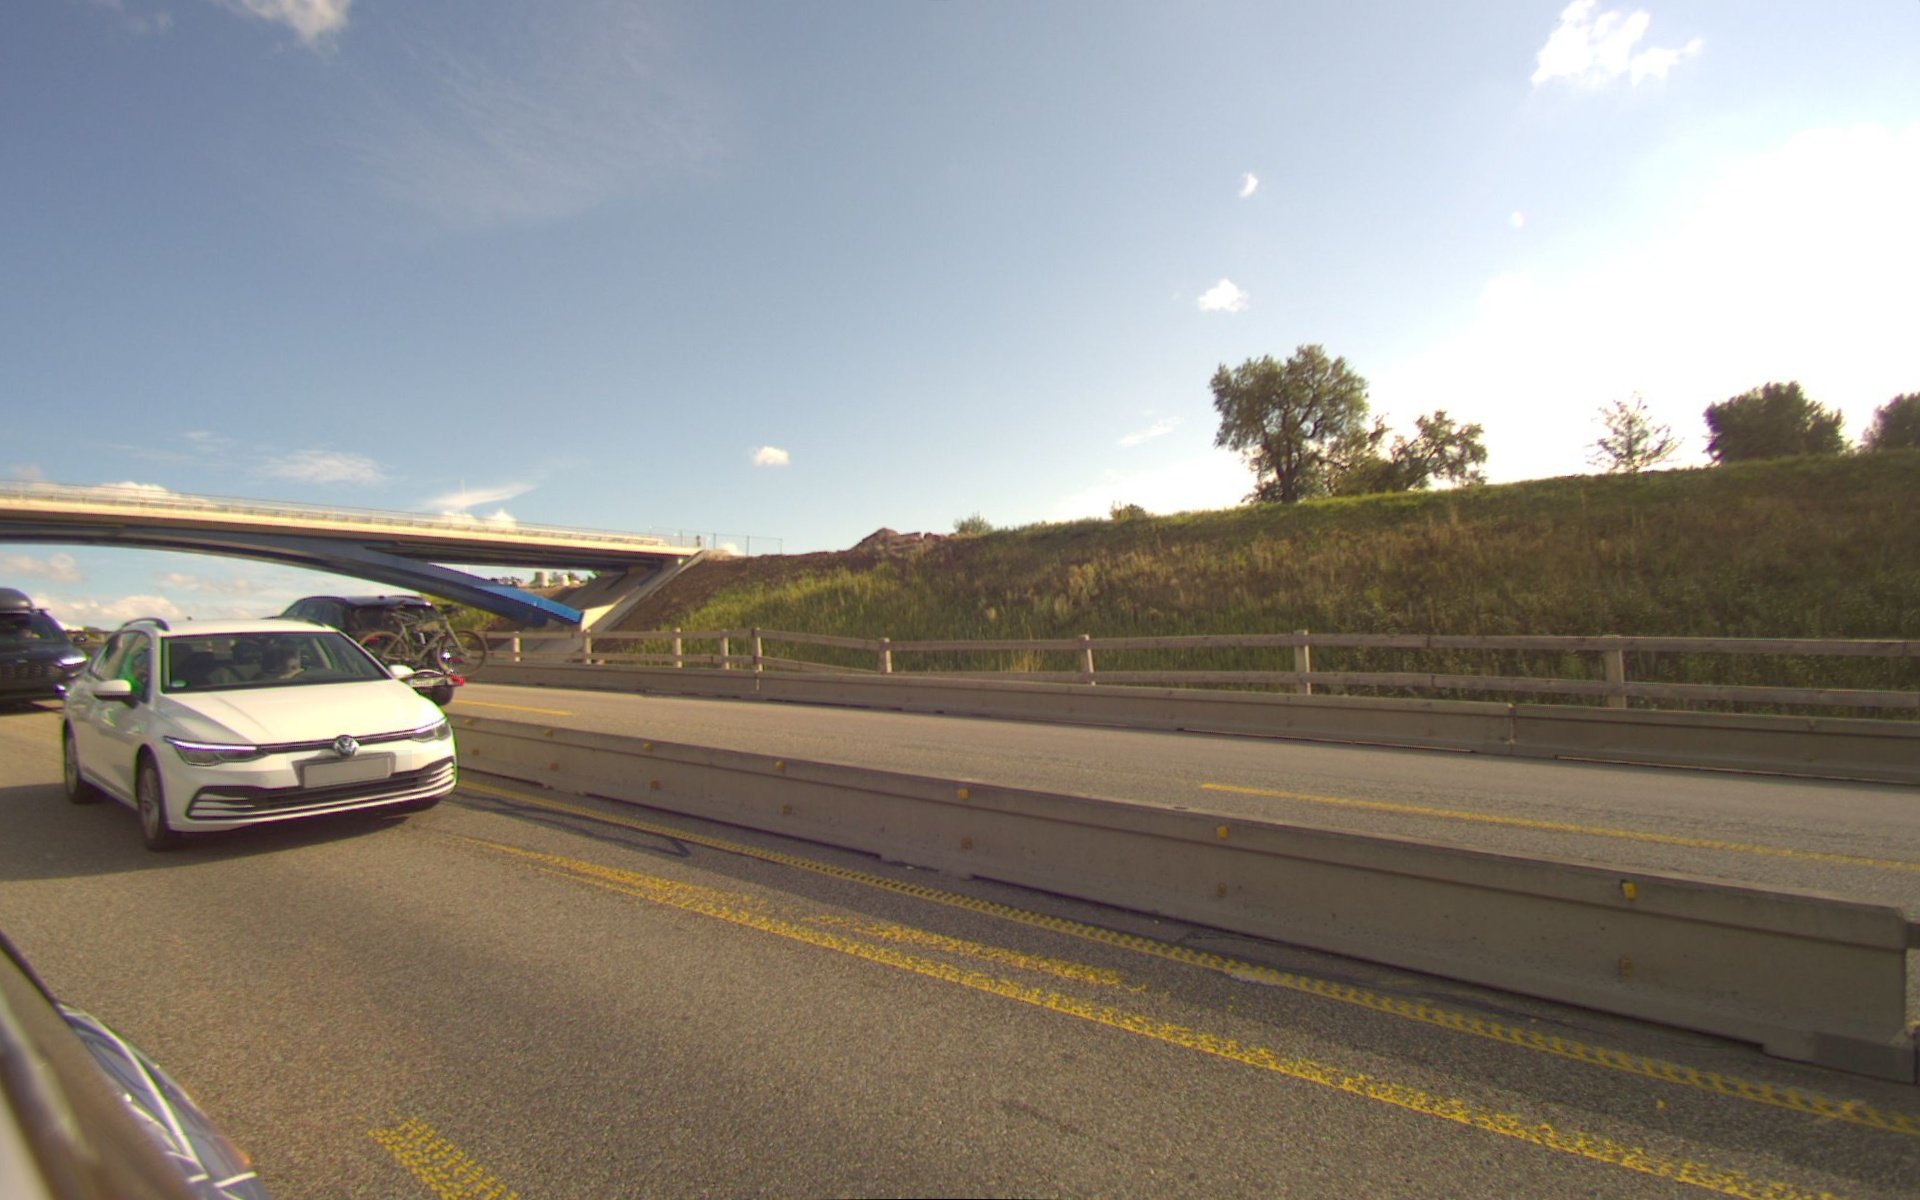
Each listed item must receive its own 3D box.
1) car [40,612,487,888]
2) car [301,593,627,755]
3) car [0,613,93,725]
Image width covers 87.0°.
[{"bbox_3d":[-5.530,0.888,7.793,4.372,1.507,1.802,-1,0,41],"label":"car"},{"bbox_3d":[-6.863,0.877,13.634,5.576,1.760,1.927,-2,-1,41],"label":"car"},{"bbox_3d":[-16.217,1.110,17.056,4.258,1.689,1.831,-1,0,41],"label":"car"}]
